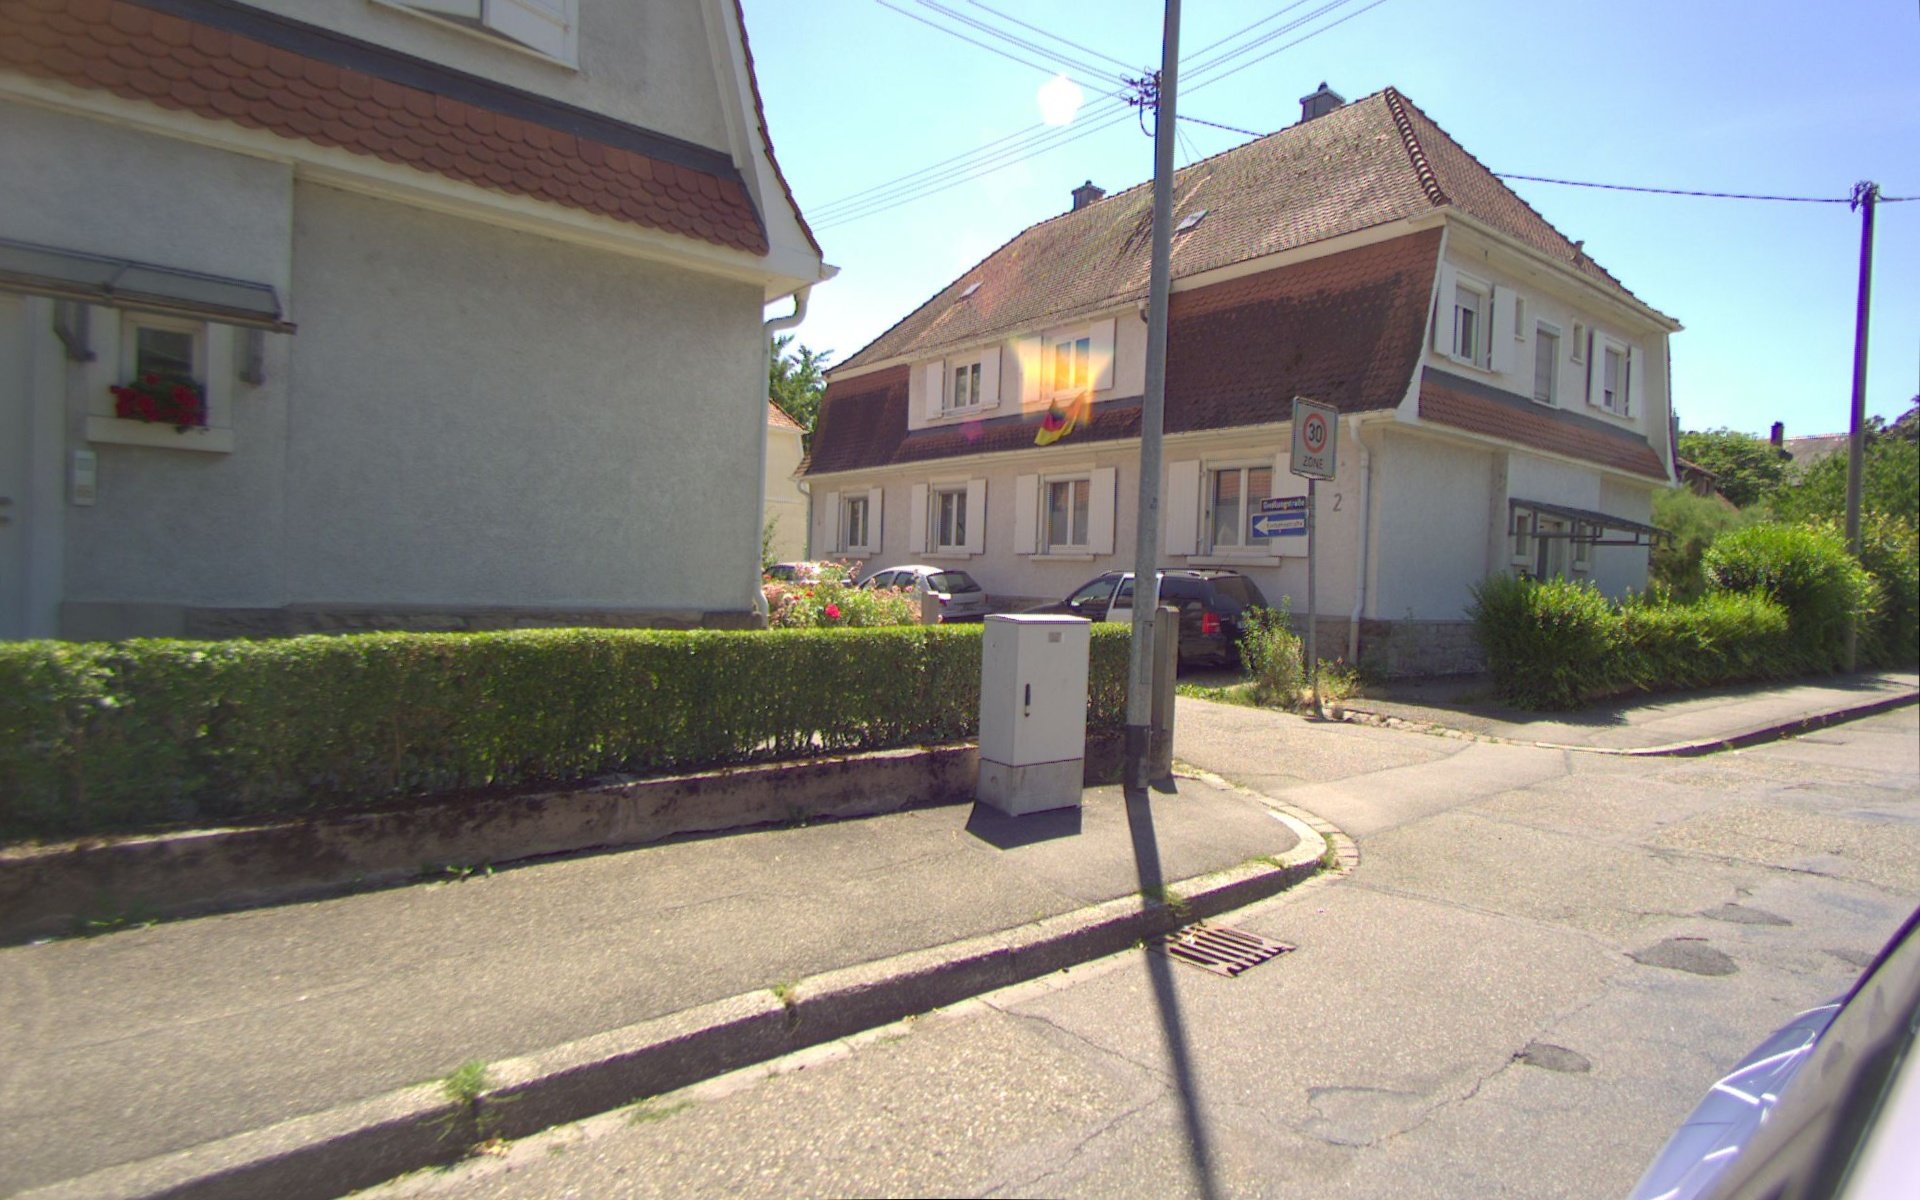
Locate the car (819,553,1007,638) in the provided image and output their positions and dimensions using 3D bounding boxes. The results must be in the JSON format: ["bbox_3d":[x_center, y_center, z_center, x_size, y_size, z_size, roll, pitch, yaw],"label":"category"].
[{"bbox_3d":[-1.005,-0.148,20.012,1.665,1.430,3.745,-1,4,-44],"label":"car"}]

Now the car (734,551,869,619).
[{"bbox_3d":[-3.781,-0.383,23.660,1.661,1.469,3.754,0,2,-34],"label":"car"}]

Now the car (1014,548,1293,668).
[{"bbox_3d":[2.770,0.038,15.226,1.662,1.555,4.006,0,2,-38],"label":"car"}]
